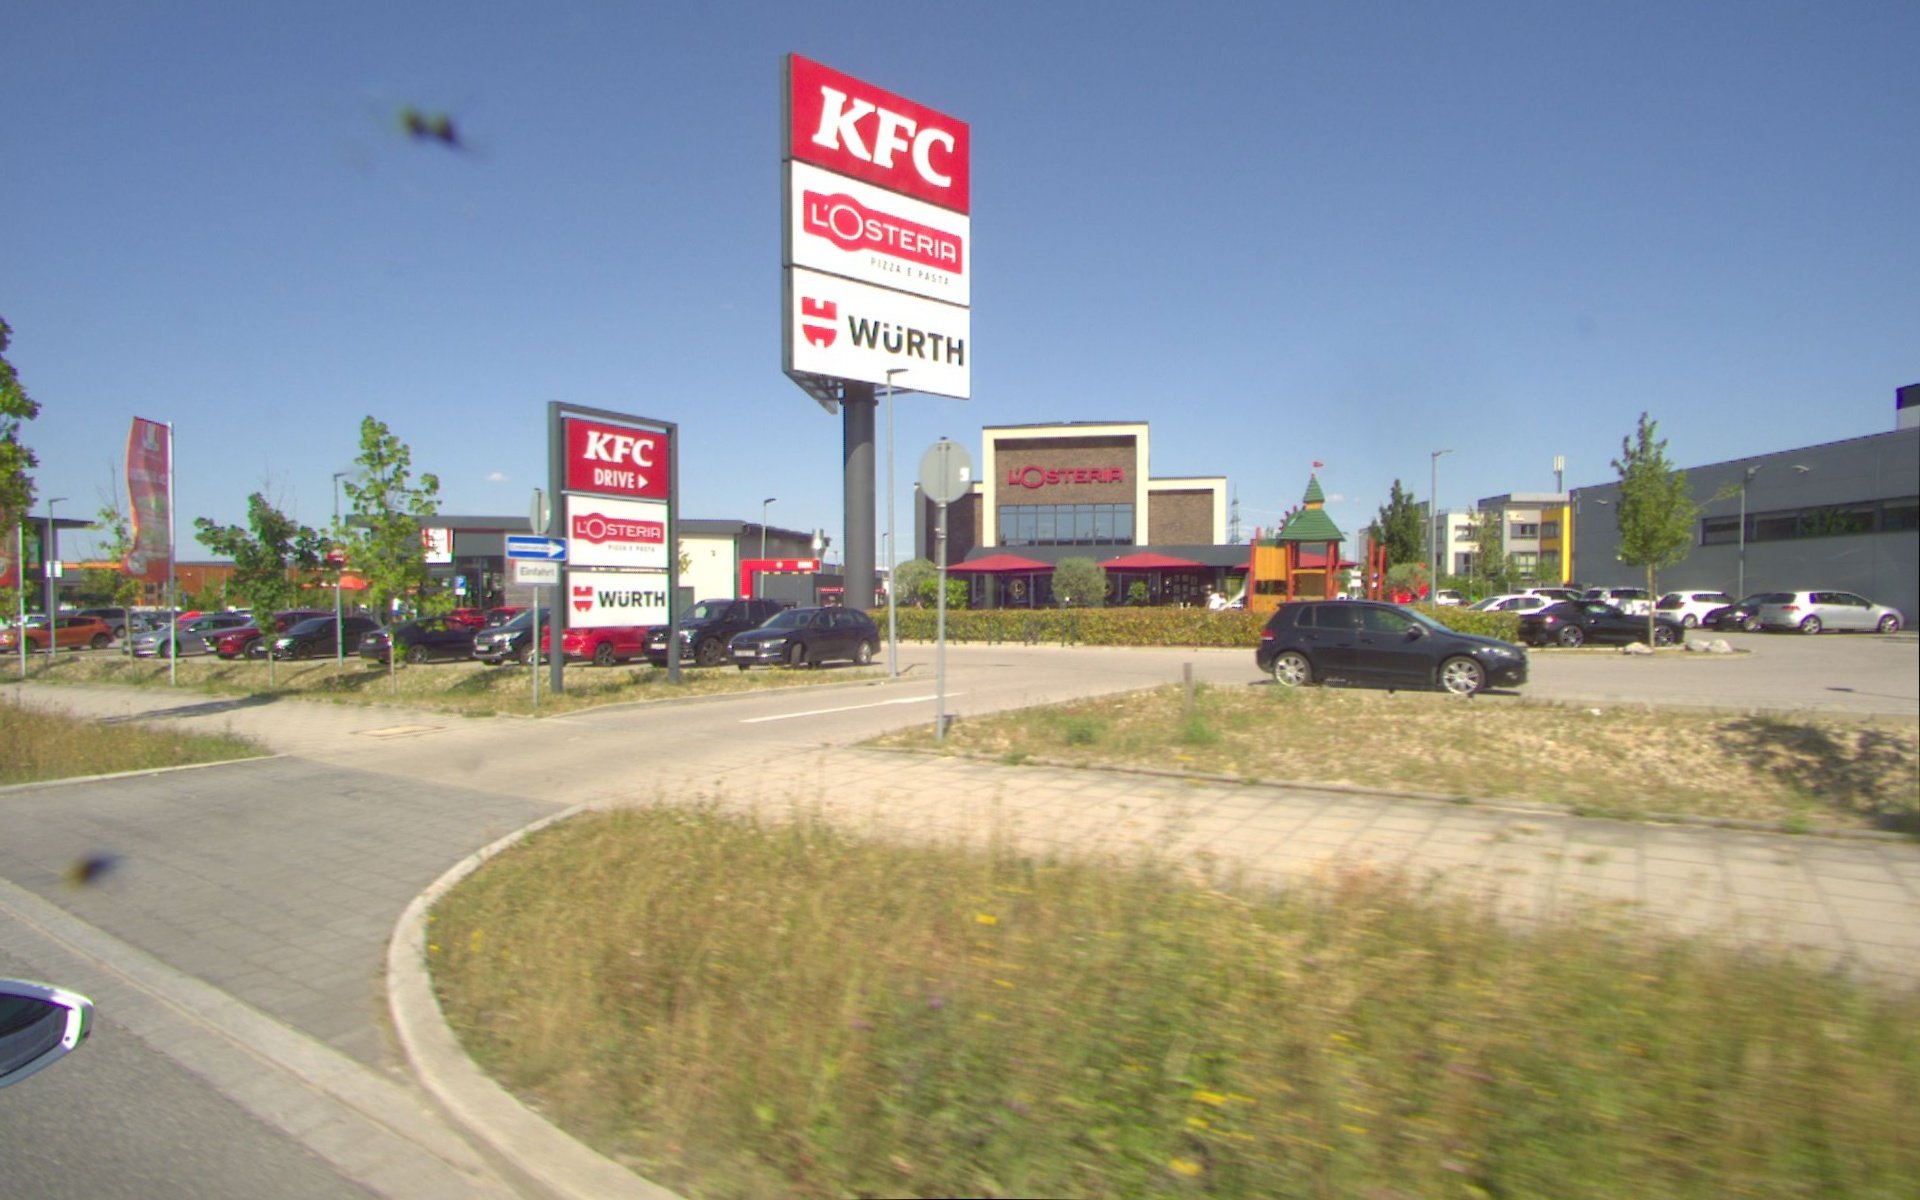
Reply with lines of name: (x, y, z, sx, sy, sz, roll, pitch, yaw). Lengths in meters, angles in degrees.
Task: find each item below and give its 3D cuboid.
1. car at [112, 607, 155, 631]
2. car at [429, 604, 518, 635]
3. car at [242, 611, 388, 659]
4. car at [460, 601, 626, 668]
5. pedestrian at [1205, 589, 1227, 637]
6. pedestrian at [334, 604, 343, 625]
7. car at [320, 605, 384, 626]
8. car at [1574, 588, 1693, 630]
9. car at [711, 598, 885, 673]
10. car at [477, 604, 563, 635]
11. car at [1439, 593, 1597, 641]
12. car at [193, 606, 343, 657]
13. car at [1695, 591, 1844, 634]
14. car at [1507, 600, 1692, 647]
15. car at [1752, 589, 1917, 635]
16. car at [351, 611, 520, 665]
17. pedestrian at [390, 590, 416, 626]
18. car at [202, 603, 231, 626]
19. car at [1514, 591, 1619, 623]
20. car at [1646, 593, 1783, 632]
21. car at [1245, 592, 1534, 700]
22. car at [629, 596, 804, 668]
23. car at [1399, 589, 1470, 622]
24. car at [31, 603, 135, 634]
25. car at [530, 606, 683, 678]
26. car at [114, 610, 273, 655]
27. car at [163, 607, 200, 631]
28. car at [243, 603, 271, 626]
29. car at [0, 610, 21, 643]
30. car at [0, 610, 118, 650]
car: (-52.070, 1.188, 63.140, 1.769, 1.470, 4.139, -1, 0, -36)
car: (-25.543, 0.998, 52.743, 1.833, 1.451, 4.566, 0, 1, 10)
car: (-22.875, 1.197, 35.684, 1.759, 1.469, 4.158, 0, 1, 19)
car: (-12.206, 0.935, 29.626, 1.764, 1.758, 4.400, 0, 1, 29)
pedestrian: (9.442, 0.478, 36.944, 0.806, 1.772, 0.518, 0, 1, 14)
pedestrian: (-38.645, 0.908, 62.294, 0.287, 1.257, 0.380, -1, 1, 9)
car: (-46.681, 1.194, 76.909, 4.111, 1.543, 1.781, -1, 0, -32)
car: (29.352, 0.380, 43.733, 4.029, 1.780, 1.702, 0, 0, 1)
car: (-3.788, 0.773, 24.227, 1.963, 1.587, 4.403, 0, 1, 27)
car: (-22.855, 0.989, 52.199, 1.833, 1.451, 4.566, 0, 1, 10)
car: (18.028, 0.546, 32.467, 4.150, 1.491, 1.702, 0, 0, 0)
car: (-25.155, 1.088, 36.576, 1.838, 1.688, 4.152, 0, 1, 25)
car: (29.296, 0.443, 36.325, 4.029, 1.482, 1.702, 0, 0, 1)
car: (17.539, 0.621, 27.585, 4.055, 1.228, 1.654, 0, 0, 0)
car: (29.355, 0.411, 33.697, 4.029, 1.482, 1.702, 0, 0, 1)
car: (-16.419, 1.122, 31.557, 1.767, 1.469, 4.390, 1, 1, 36)
pedestrian: (-31.630, 0.466, 56.858, 0.875, 2.040, 0.915, 0, 1, 14)
car: (-58.572, 1.130, 78.901, 1.769, 1.781, 4.139, -1, 0, -36)
car: (29.344, 0.328, 48.517, 4.029, 1.482, 1.702, 0, 0, 1)
car: (29.384, 0.479, 39.076, 4.029, 1.482, 1.702, 0, 0, 1)
car: (6.961, 0.683, 16.344, 4.110, 1.560, 1.776, -1, 0, 33)
car: (-6.521, 0.779, 27.437, 1.908, 1.758, 4.978, 0, 1, 27)
car: (28.069, 0.306, 59.430, 2.009, 1.840, 4.923, 0, 0, 2)
car: (-48.964, 1.007, 56.011, 1.757, 1.657, 4.166, 0, 0, 10)
car: (-9.853, 1.099, 28.288, 1.759, 1.758, 4.412, 0, 1, 18)
car: (-29.350, 1.181, 38.512, 1.837, 1.510, 4.557, 0, 1, 21)
car: (-51.319, 1.221, 66.065, 1.769, 1.470, 4.139, -1, 0, -36)
car: (-57.925, 1.177, 82.501, 1.769, 1.781, 4.139, -1, 0, -36)
car: (-45.336, 1.243, 44.808, 1.835, 1.510, 4.532, 0, 1, 18)
car: (-38.425, 1.231, 42.179, 1.835, 1.510, 4.210, 0, 1, 18)
